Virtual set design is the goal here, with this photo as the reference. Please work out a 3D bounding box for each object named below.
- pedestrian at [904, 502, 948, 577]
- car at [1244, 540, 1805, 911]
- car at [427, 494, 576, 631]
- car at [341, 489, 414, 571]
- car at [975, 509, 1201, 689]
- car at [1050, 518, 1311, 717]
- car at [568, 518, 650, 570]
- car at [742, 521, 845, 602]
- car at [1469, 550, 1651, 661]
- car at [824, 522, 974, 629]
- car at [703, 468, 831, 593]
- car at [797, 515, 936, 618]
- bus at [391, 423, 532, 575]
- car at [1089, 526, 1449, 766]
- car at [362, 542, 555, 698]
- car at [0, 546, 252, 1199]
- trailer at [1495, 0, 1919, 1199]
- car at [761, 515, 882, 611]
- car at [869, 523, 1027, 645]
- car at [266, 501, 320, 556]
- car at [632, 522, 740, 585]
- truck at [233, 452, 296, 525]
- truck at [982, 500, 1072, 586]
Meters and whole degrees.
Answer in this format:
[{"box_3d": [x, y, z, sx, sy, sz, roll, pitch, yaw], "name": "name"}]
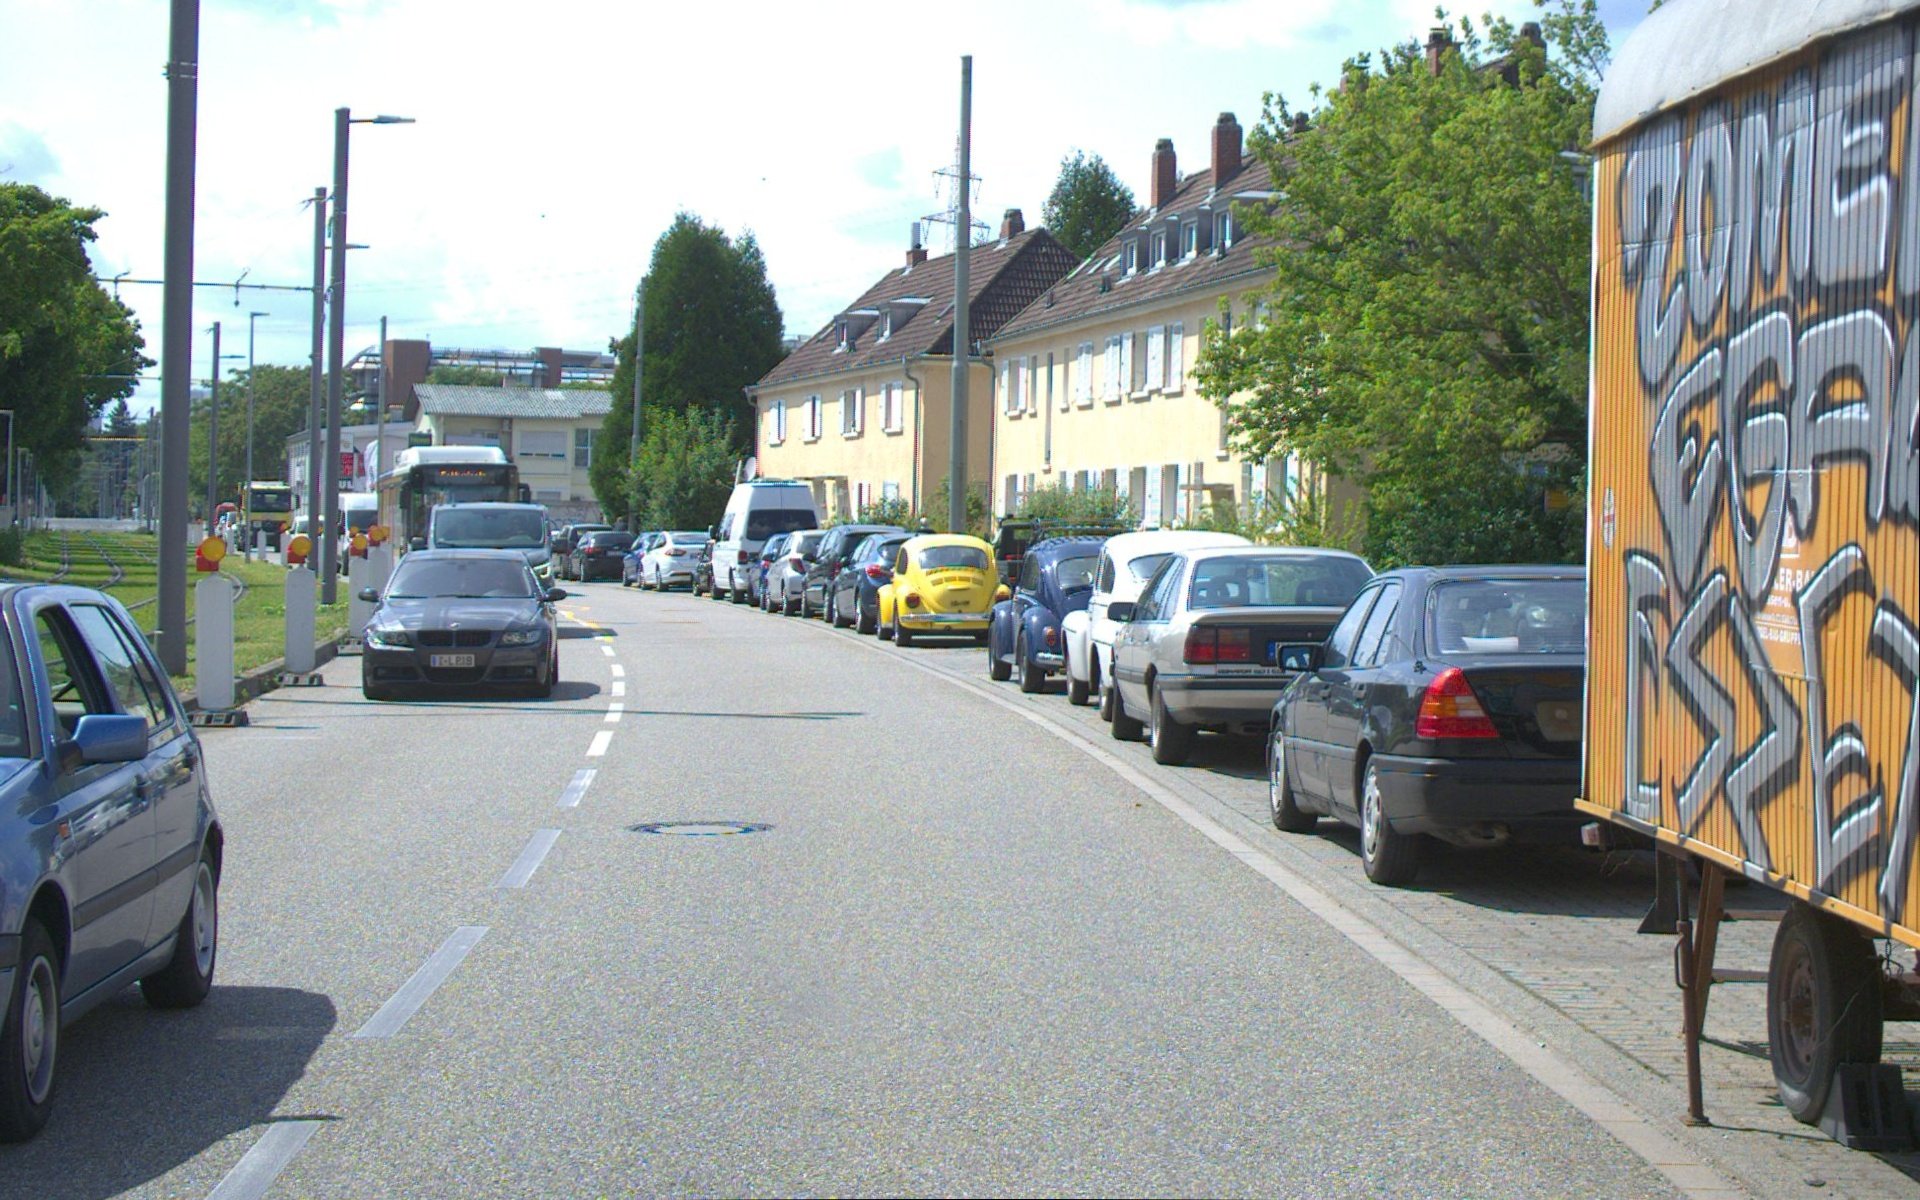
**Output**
[{"box_3d": [-0.759, -1.349, 76.712, 0.853, 1.646, 0.637, 2, 1, -9], "name": "pedestrian"}, {"box_3d": [2.461, 0.470, 16.072, 1.577, 1.444, 4.454, 1, 1, -4], "name": "car"}, {"box_3d": [-6.928, -0.607, 52.415, 1.955, 1.959, 5.294, 1, 1, -4], "name": "car"}, {"box_3d": [-18.123, -2.181, 106.805, 2.102, 2.435, 5.573, 1, 1, -10], "name": "car"}, {"box_3d": [1.201, -0.053, 33.972, 1.548, 1.635, 4.248, 1, 1, -7], "name": "car"}, {"box_3d": [1.770, 0.088, 28.860, 1.577, 1.507, 4.460, 1, 1, -4], "name": "car"}, {"box_3d": [-9.987, -1.599, 97.510, 1.763, 1.412, 4.001, -1, 2, -14], "name": "car"}, {"box_3d": [-3.207, -0.754, 65.682, 1.535, 1.440, 3.738, 1, 1, -9], "name": "car"}, {"box_3d": [7.912, 0.041, 45.647, 1.636, 1.350, 4.088, 1, 1, -1], "name": "car"}, {"box_3d": [-0.959, -0.392, 51.542, 1.636, 1.477, 4.126, 1, 1, -9], "name": "car"}, {"box_3d": [-4.032, -1.437, 70.972, 1.929, 2.472, 5.519, 0, 1, -10], "name": "car"}, {"box_3d": [-1.586, -0.589, 57.004, 1.636, 1.597, 3.933, 1, 1, -11], "name": "car"}, {"box_3d": [-12.217, -2.436, 83.463, 2.635, 3.400, 12.252, 0, 2, -12], "name": "bus"}, {"box_3d": [2.014, 0.237, 23.769, 1.706, 1.444, 4.836, 1, 1, -4], "name": "car"}, {"box_3d": [-4.848, 0.150, 33.506, 1.724, 1.384, 4.123, 1, 1, -7], "name": "car"}, {"box_3d": [-3.106, 0.604, 9.579, 1.665, 1.444, 3.960, -1, 1, -4], "name": "car"}, {"box_3d": [3.048, -0.220, 7.420, 2.690, 3.215, 5.083, 1, 1, -3], "name": "trailer"}, {"box_3d": [-2.490, -0.690, 61.050, 1.636, 1.597, 4.030, 1, 1, -9], "name": "car"}, {"box_3d": [-0.207, -0.254, 46.438, 1.636, 1.477, 3.933, -2, 2, -7], "name": "car"}, {"box_3d": [-22.635, -2.440, 116.651, 1.734, 1.767, 4.310, 1, 1, -11], "name": "car"}, {"box_3d": [-6.693, -1.133, 83.546, 1.798, 1.453, 4.767, -1, 1, -14], "name": "car"}, {"box_3d": [-33.653, -5.395, 166.274, 2.559, 3.447, 7.152, -1, 2, -15], "name": "truck"}, {"box_3d": [1.345, -1.142, 69.409, 1.346, 1.683, 2.442, 1, 1, -10], "name": "truck"}]
